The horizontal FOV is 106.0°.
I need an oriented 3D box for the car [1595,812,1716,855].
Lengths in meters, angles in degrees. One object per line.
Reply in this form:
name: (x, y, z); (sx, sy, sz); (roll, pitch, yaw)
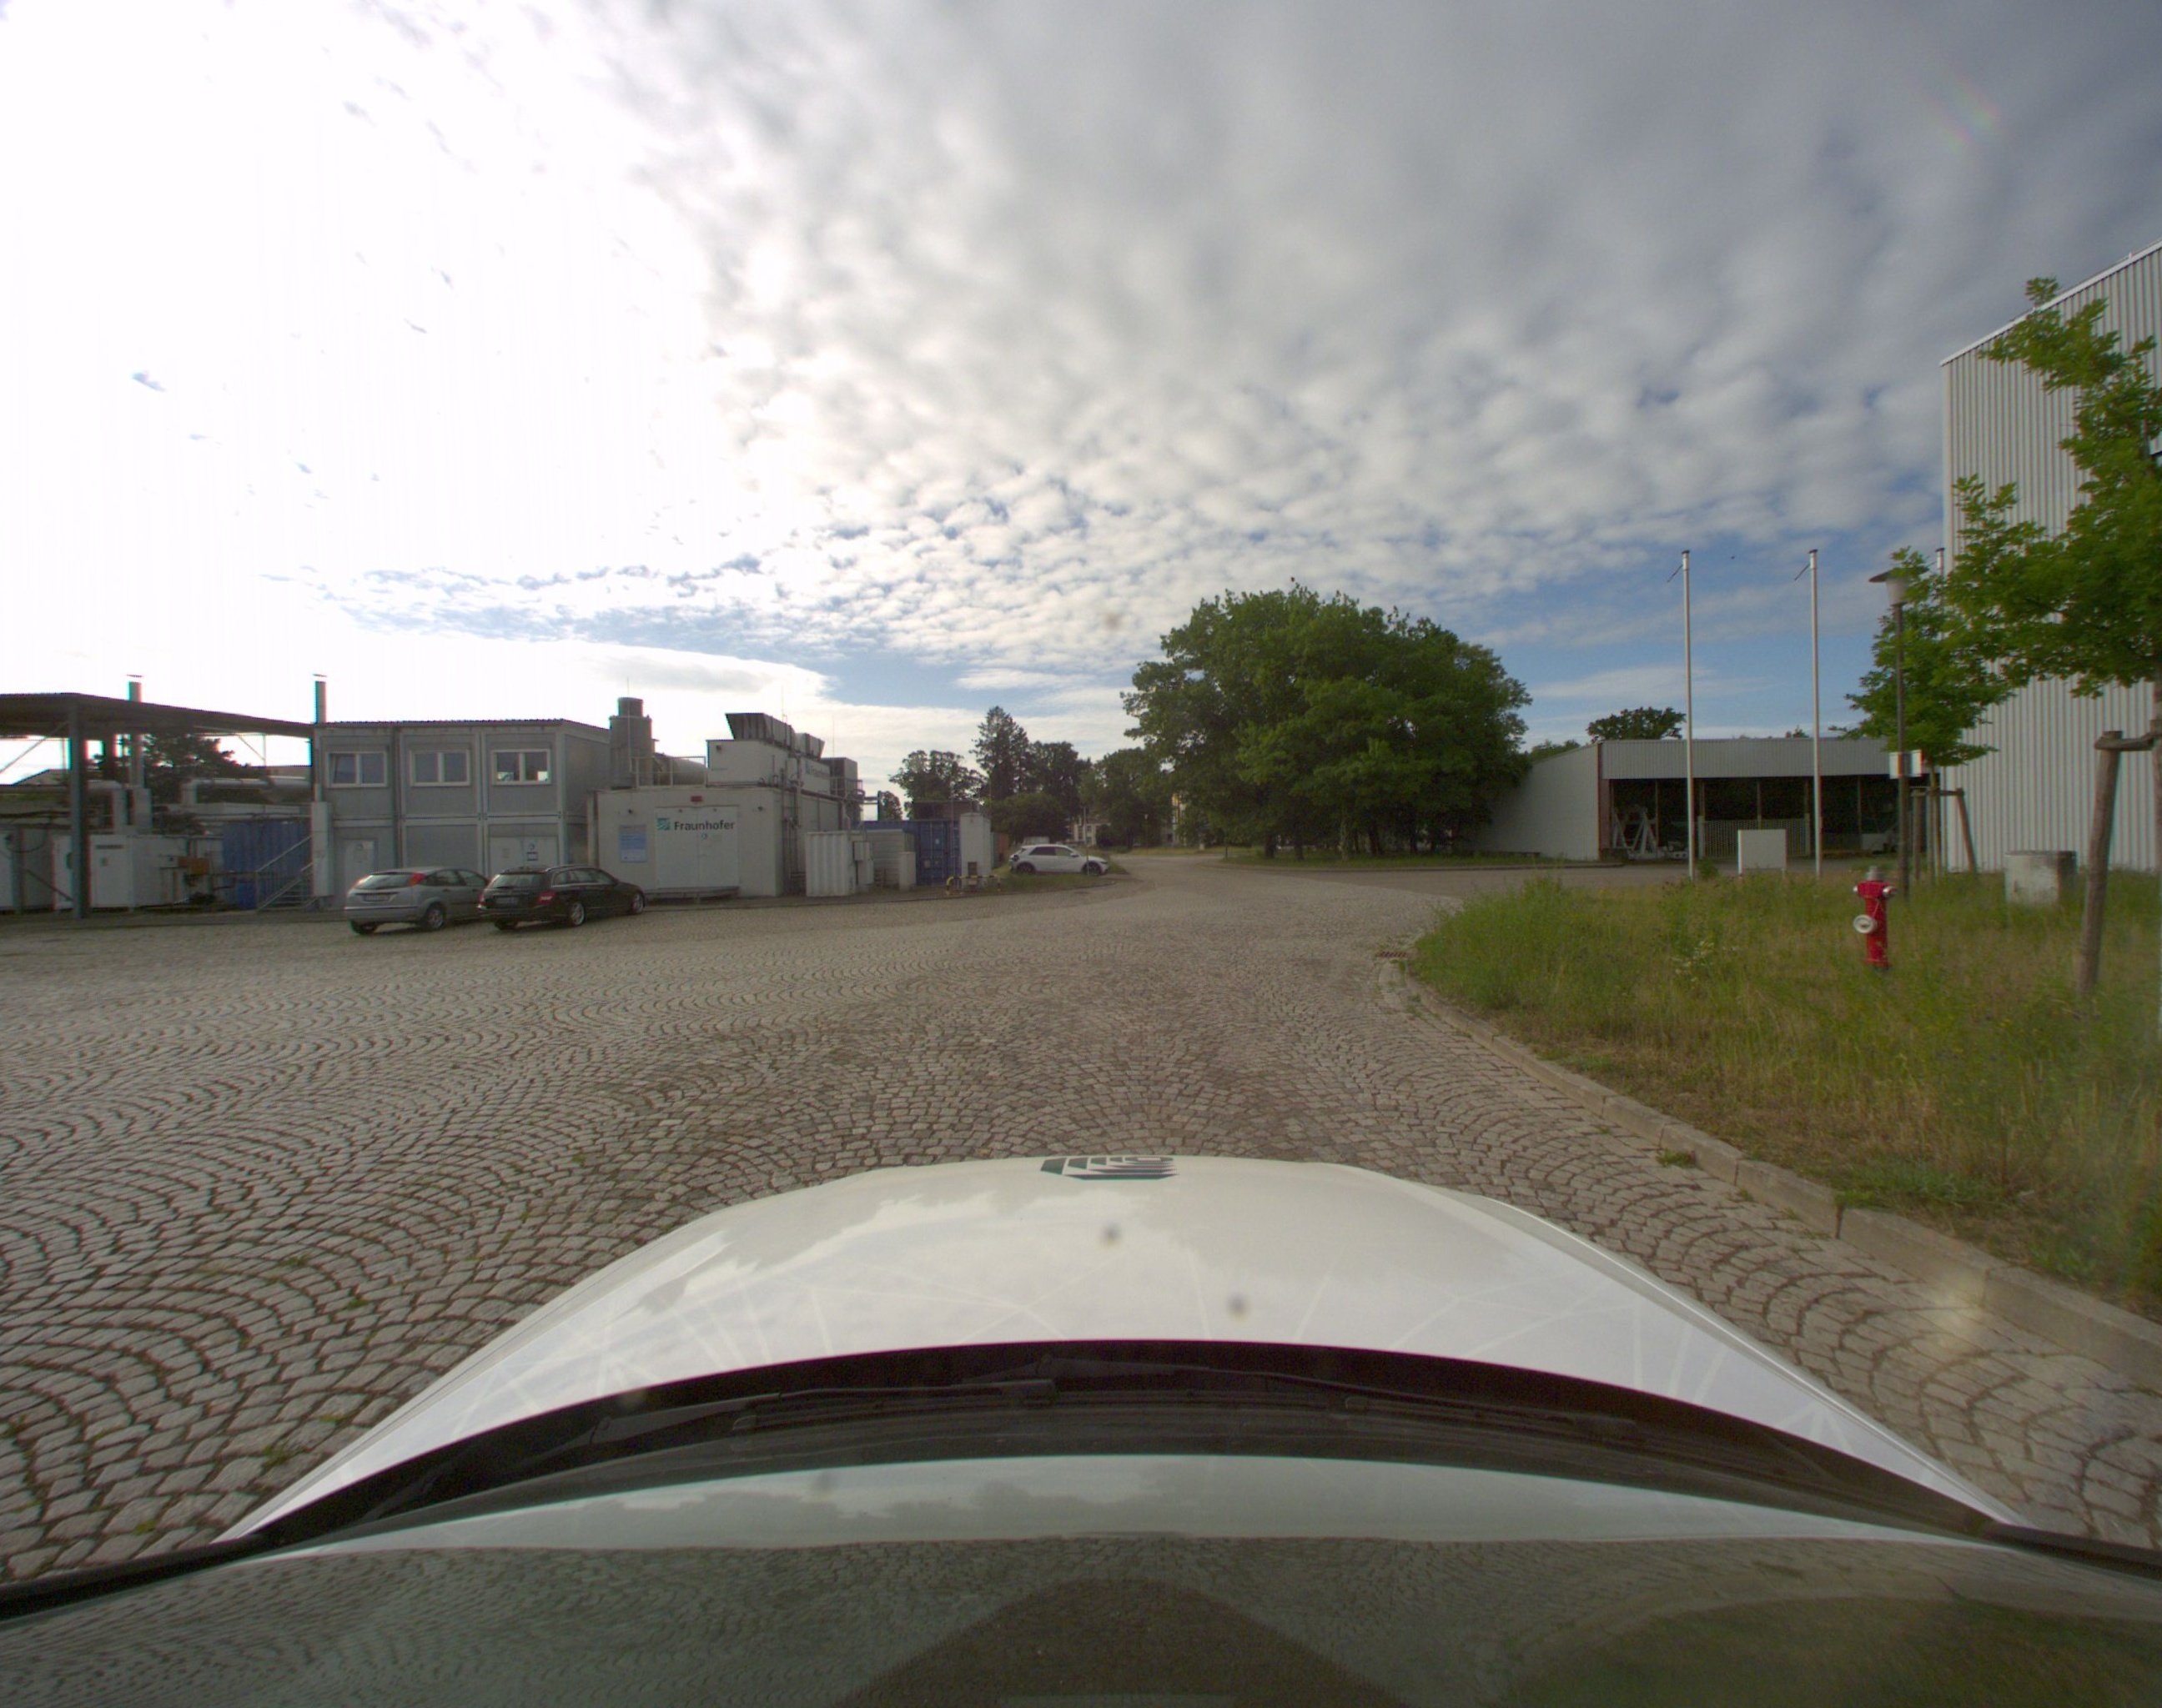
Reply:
car: (29.274, -1.009, 41.786); (2.236, 2.013, 5.331); (-2, 1, -3)

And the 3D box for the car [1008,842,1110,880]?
car: (-0.972, 0.296, 37.577); (4.519, 1.599, 2.000); (-2, 0, 0)

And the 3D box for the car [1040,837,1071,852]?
car: (-4.344, -1.569, 139.030); (5.158, 2.337, 1.998); (-2, 0, -3)

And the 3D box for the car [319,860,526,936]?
car: (-15.901, 0.984, 20.000); (1.903, 1.475, 4.042); (-2, 2, -4)

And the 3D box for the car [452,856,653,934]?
car: (-12.670, 0.889, 19.974); (2.031, 1.453, 4.527); (-2, 2, -2)
